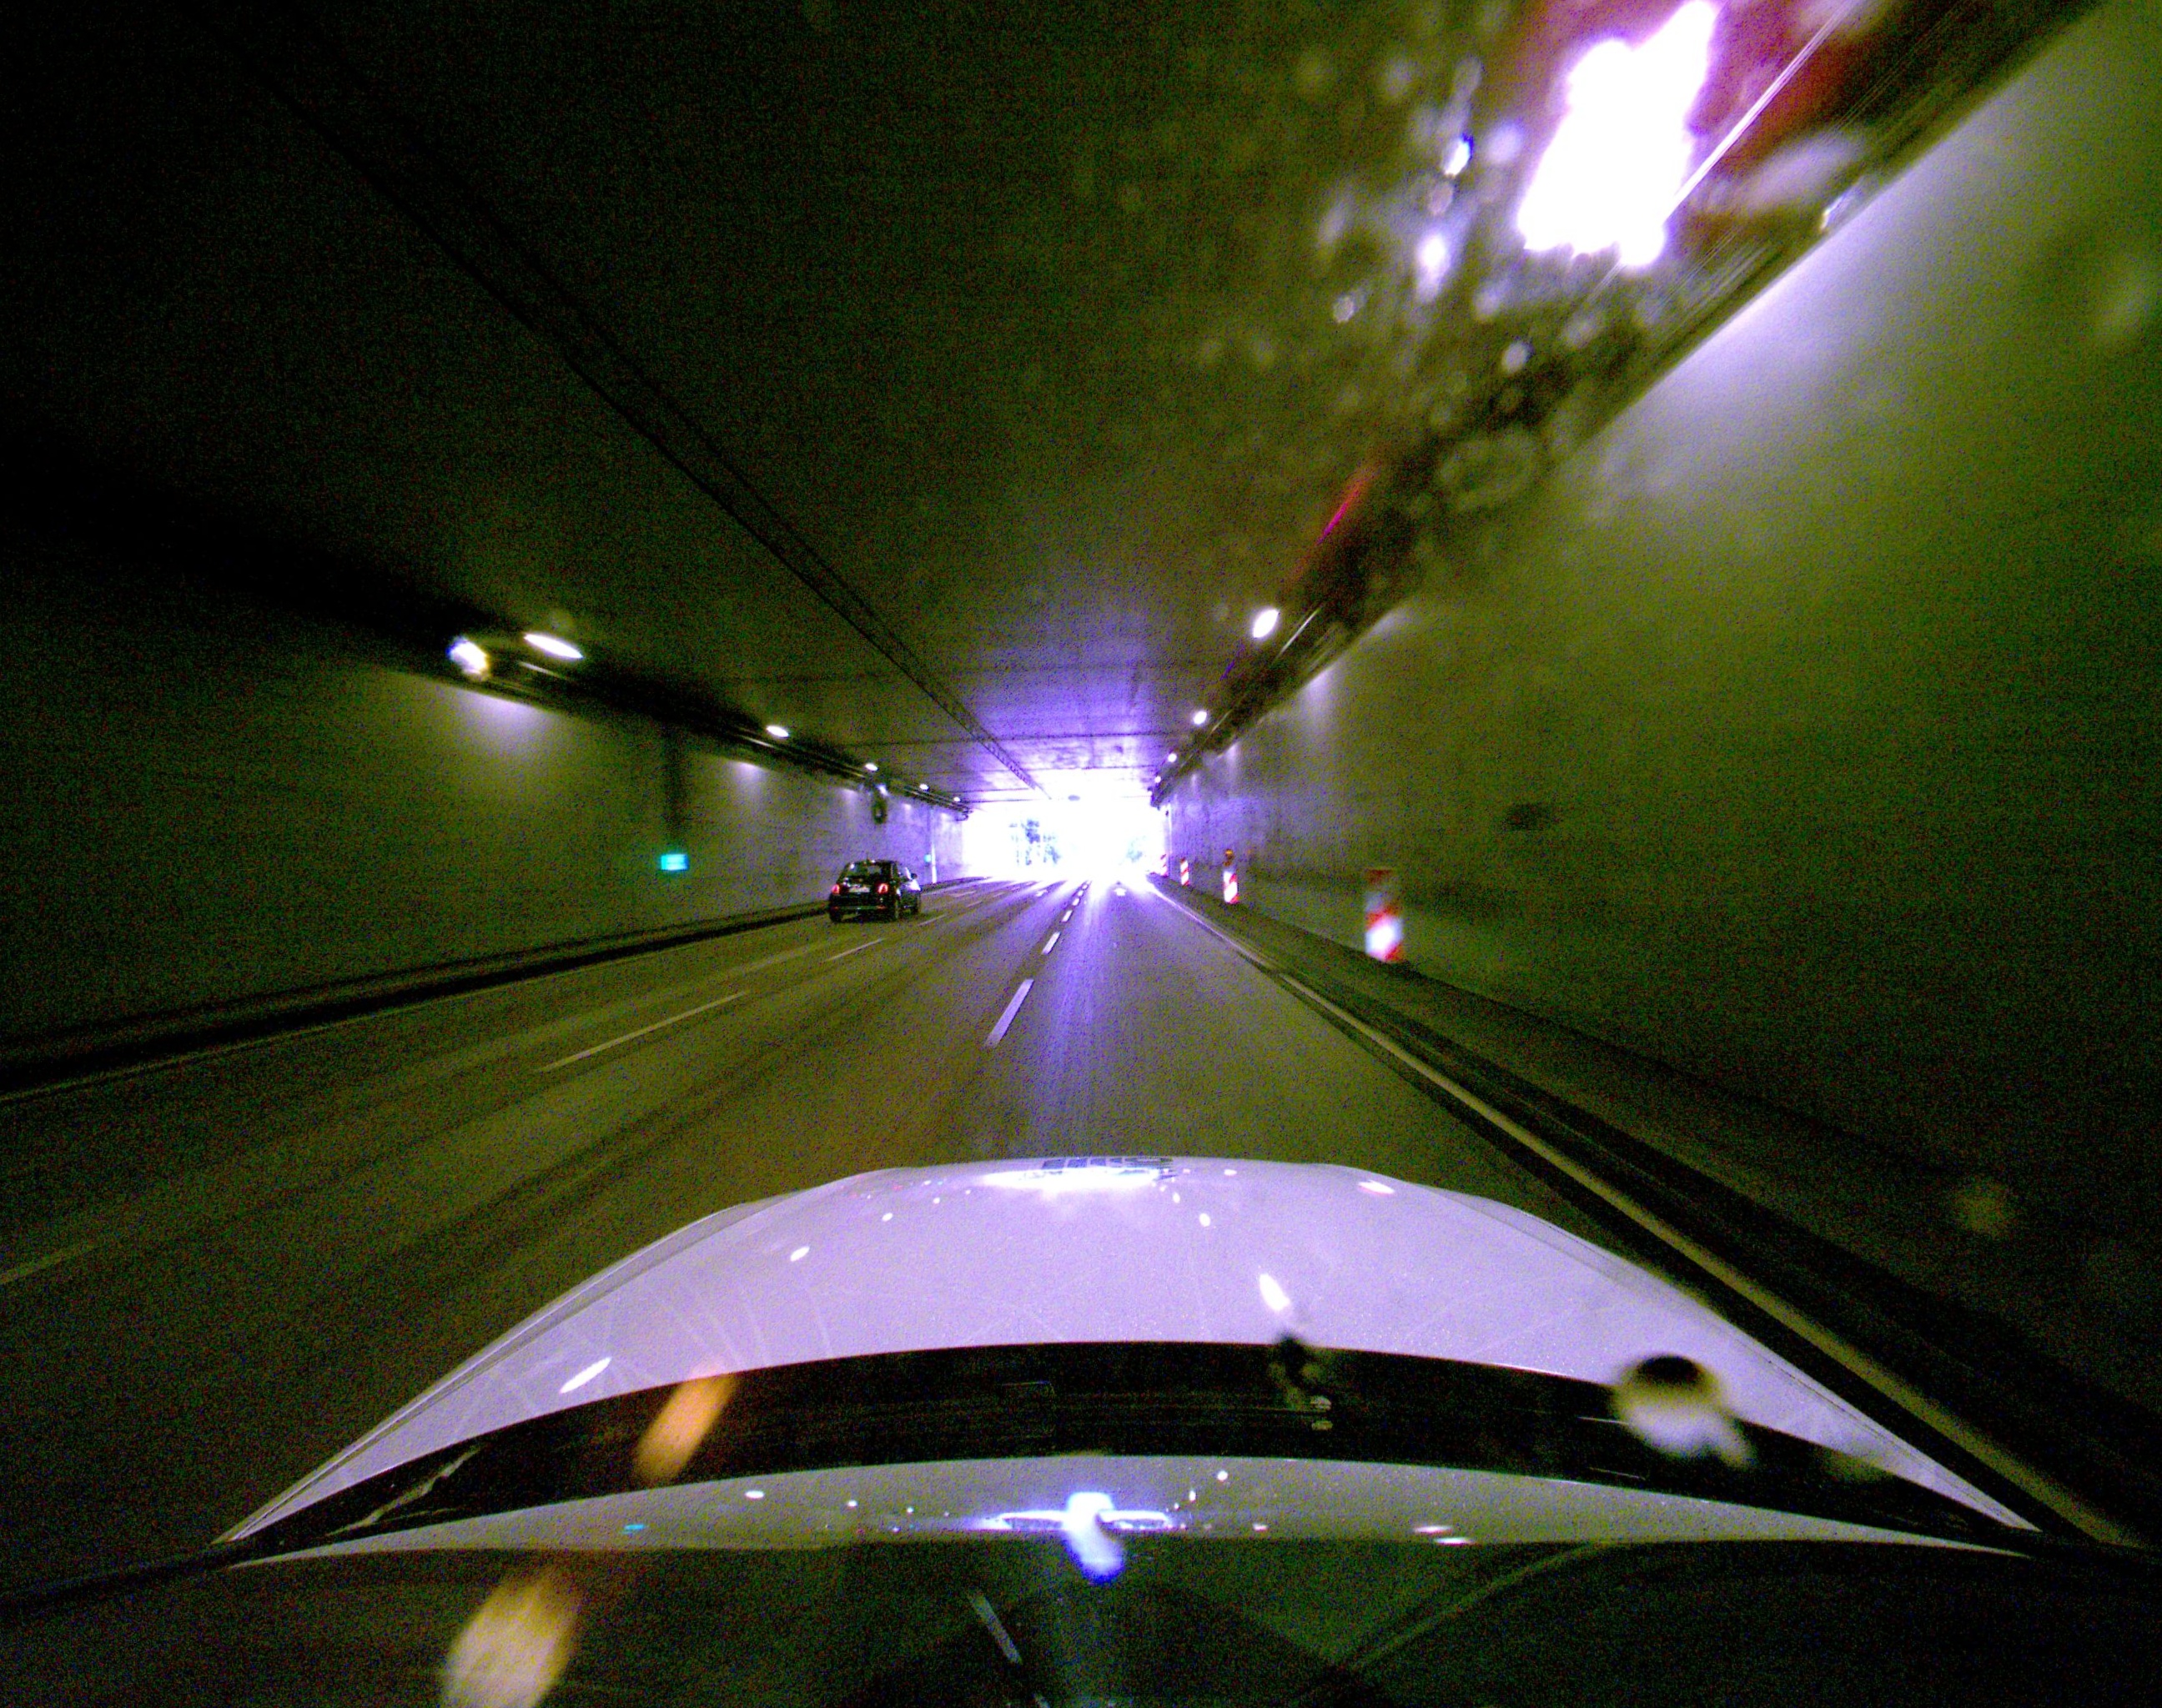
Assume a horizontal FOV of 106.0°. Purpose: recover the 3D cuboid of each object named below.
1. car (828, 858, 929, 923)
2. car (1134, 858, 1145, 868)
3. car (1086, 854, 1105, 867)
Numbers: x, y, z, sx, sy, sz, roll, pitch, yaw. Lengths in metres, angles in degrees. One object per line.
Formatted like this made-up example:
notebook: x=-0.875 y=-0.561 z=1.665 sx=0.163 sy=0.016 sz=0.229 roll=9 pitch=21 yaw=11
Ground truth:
car: x=-5.086 y=0.861 z=20.895 sx=1.607 sy=1.454 sz=3.573 roll=-2 pitch=0 yaw=0
car: x=11.807 y=1.778 z=163.840 sx=1.986 sy=2.014 sz=4.001 roll=-1 pitch=-1 yaw=2
car: x=1.632 y=0.750 z=93.820 sx=1.987 sy=1.448 sz=4.313 roll=-1 pitch=-1 yaw=0
